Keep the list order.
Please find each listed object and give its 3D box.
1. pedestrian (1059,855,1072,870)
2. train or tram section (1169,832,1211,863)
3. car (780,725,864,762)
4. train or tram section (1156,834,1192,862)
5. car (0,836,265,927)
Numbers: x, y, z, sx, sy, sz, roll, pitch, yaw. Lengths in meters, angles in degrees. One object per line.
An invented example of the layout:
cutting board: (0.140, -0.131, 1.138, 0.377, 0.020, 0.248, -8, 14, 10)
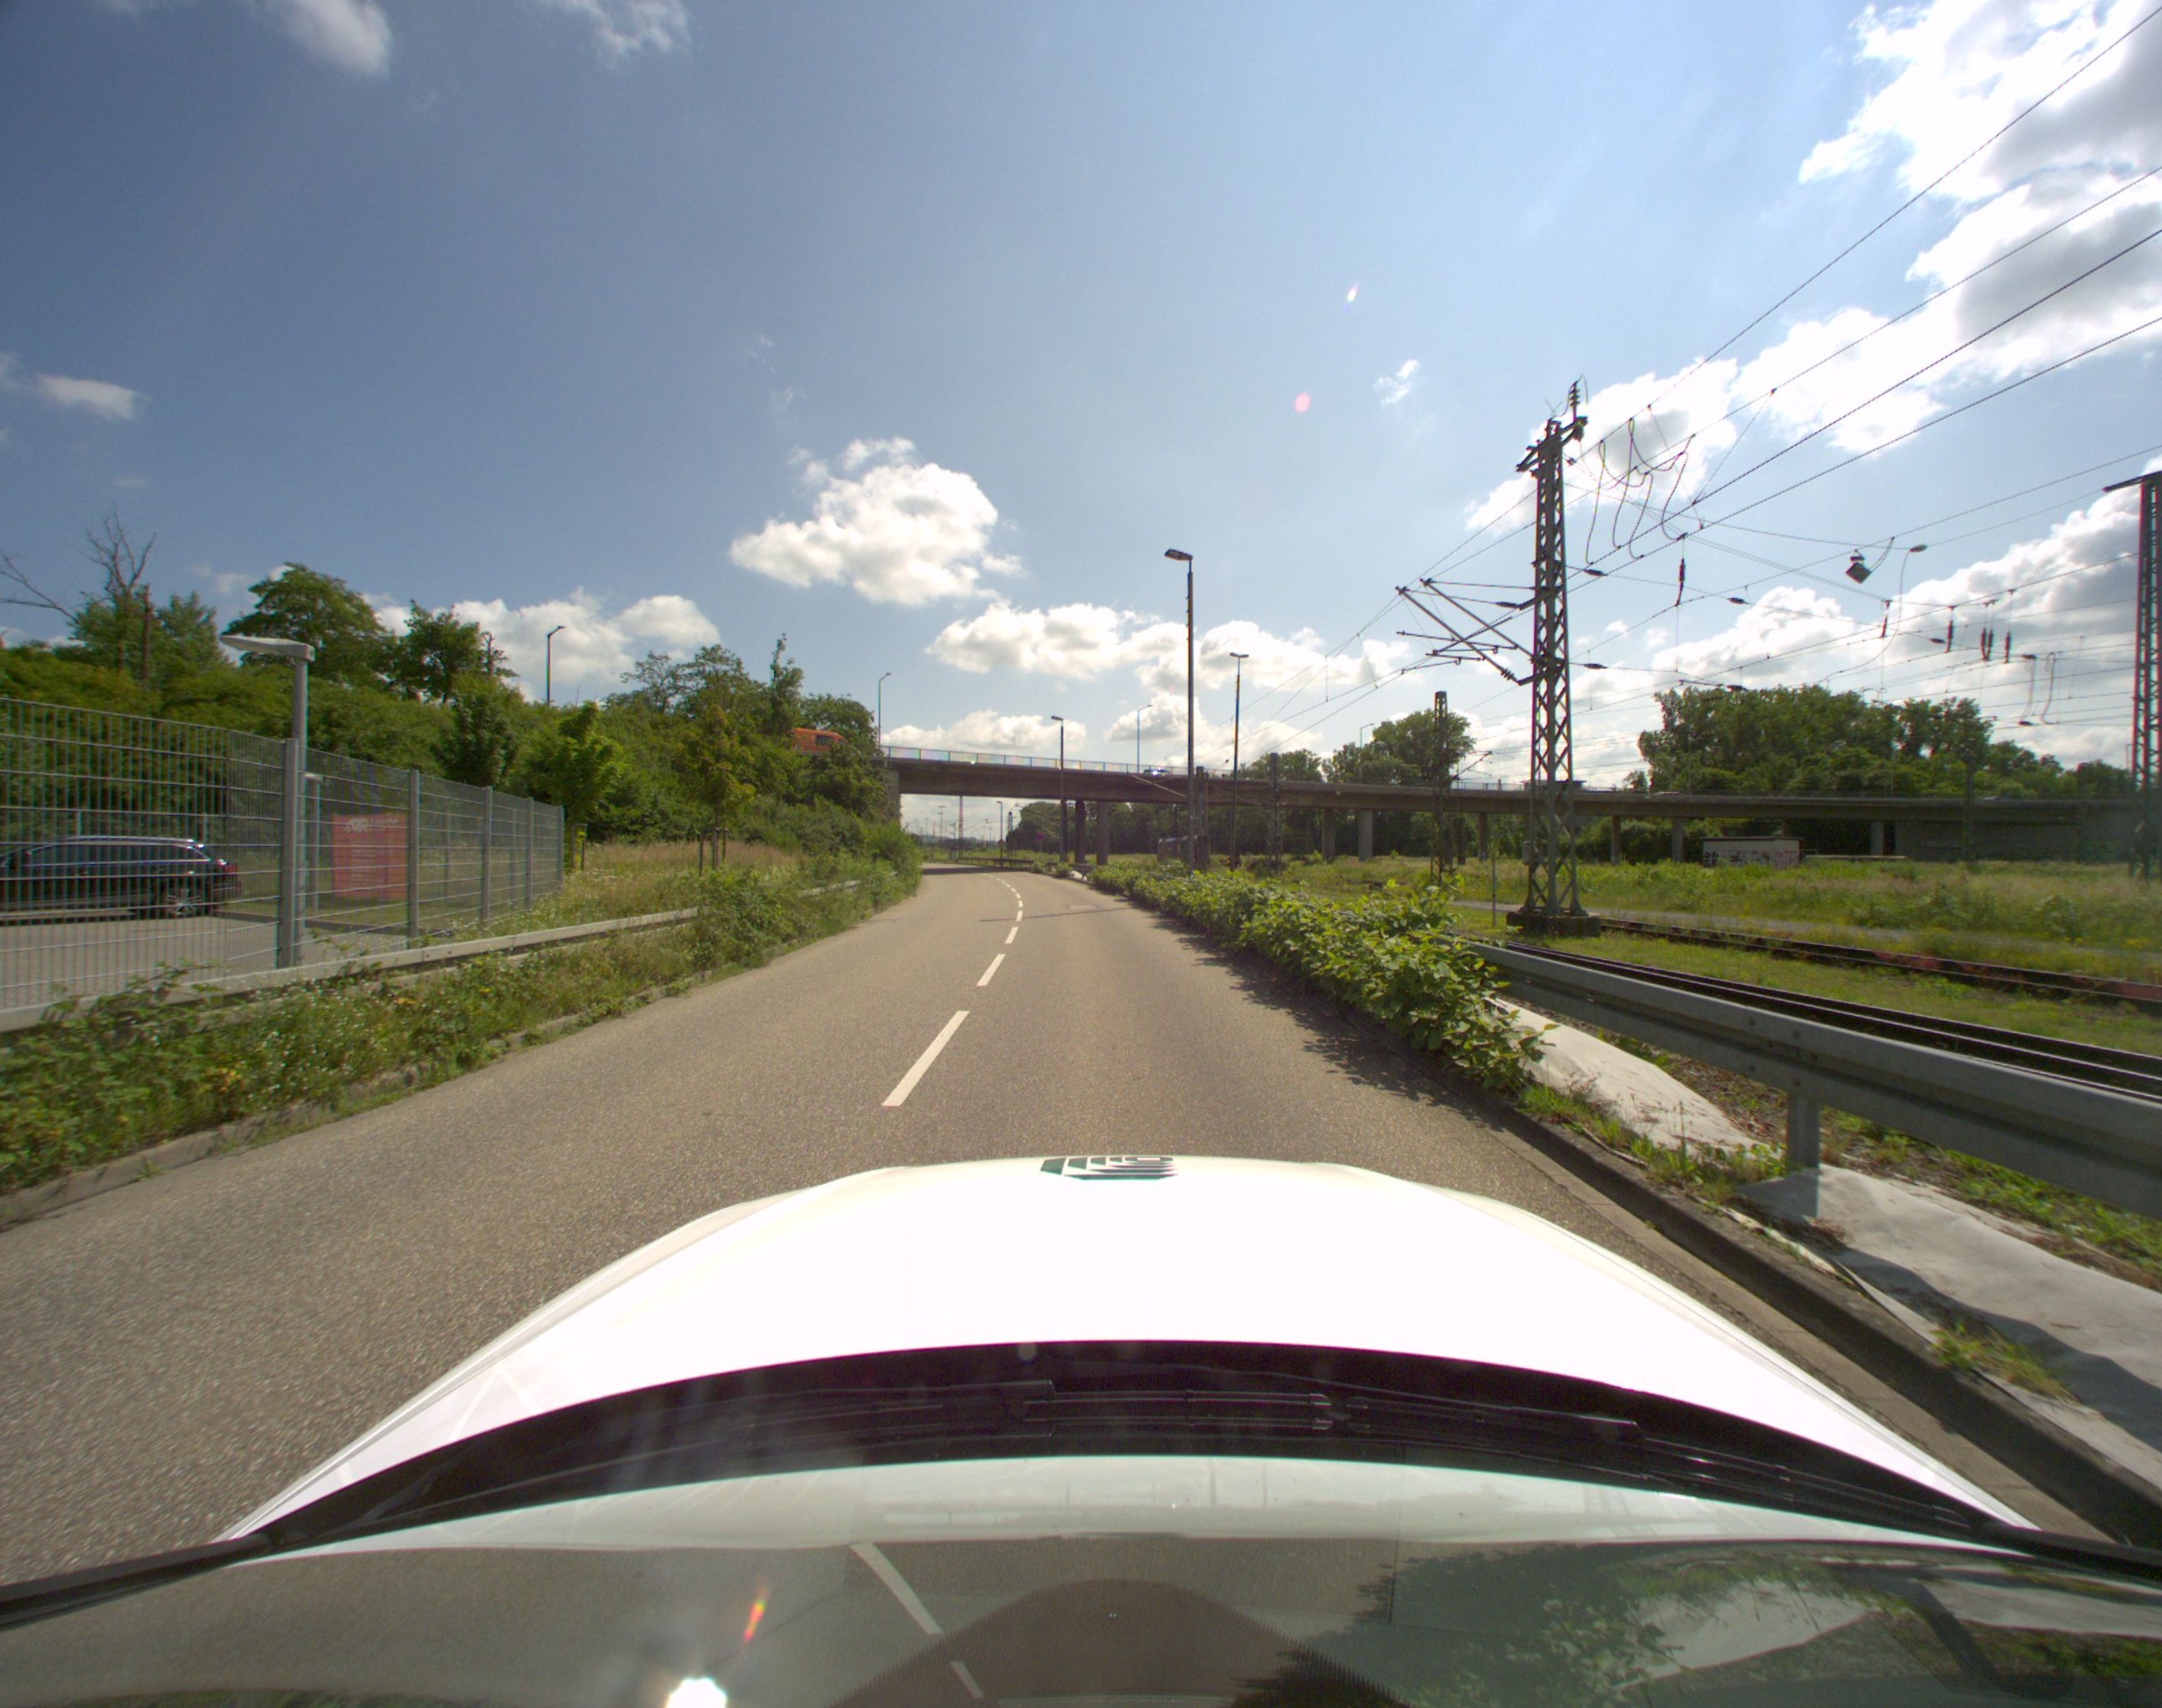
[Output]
pedestrian: (-1.585, 0.840, 84.091, 1.110, 1.540, 1.574, 0, -1, -10)
train or tram section: (12.754, -0.685, 95.996, 2.887, 3.509, 8.545, 0, 0, -7)
car: (-18.602, -7.892, 58.663, 5.366, 2.014, 1.976, -1, -1, -42)
train or tram section: (11.797, -0.688, 104.389, 2.753, 3.477, 8.219, 0, 0, -7)
car: (-20.593, 0.500, 17.017, 1.975, 1.693, 4.574, 2, 1, 27)
